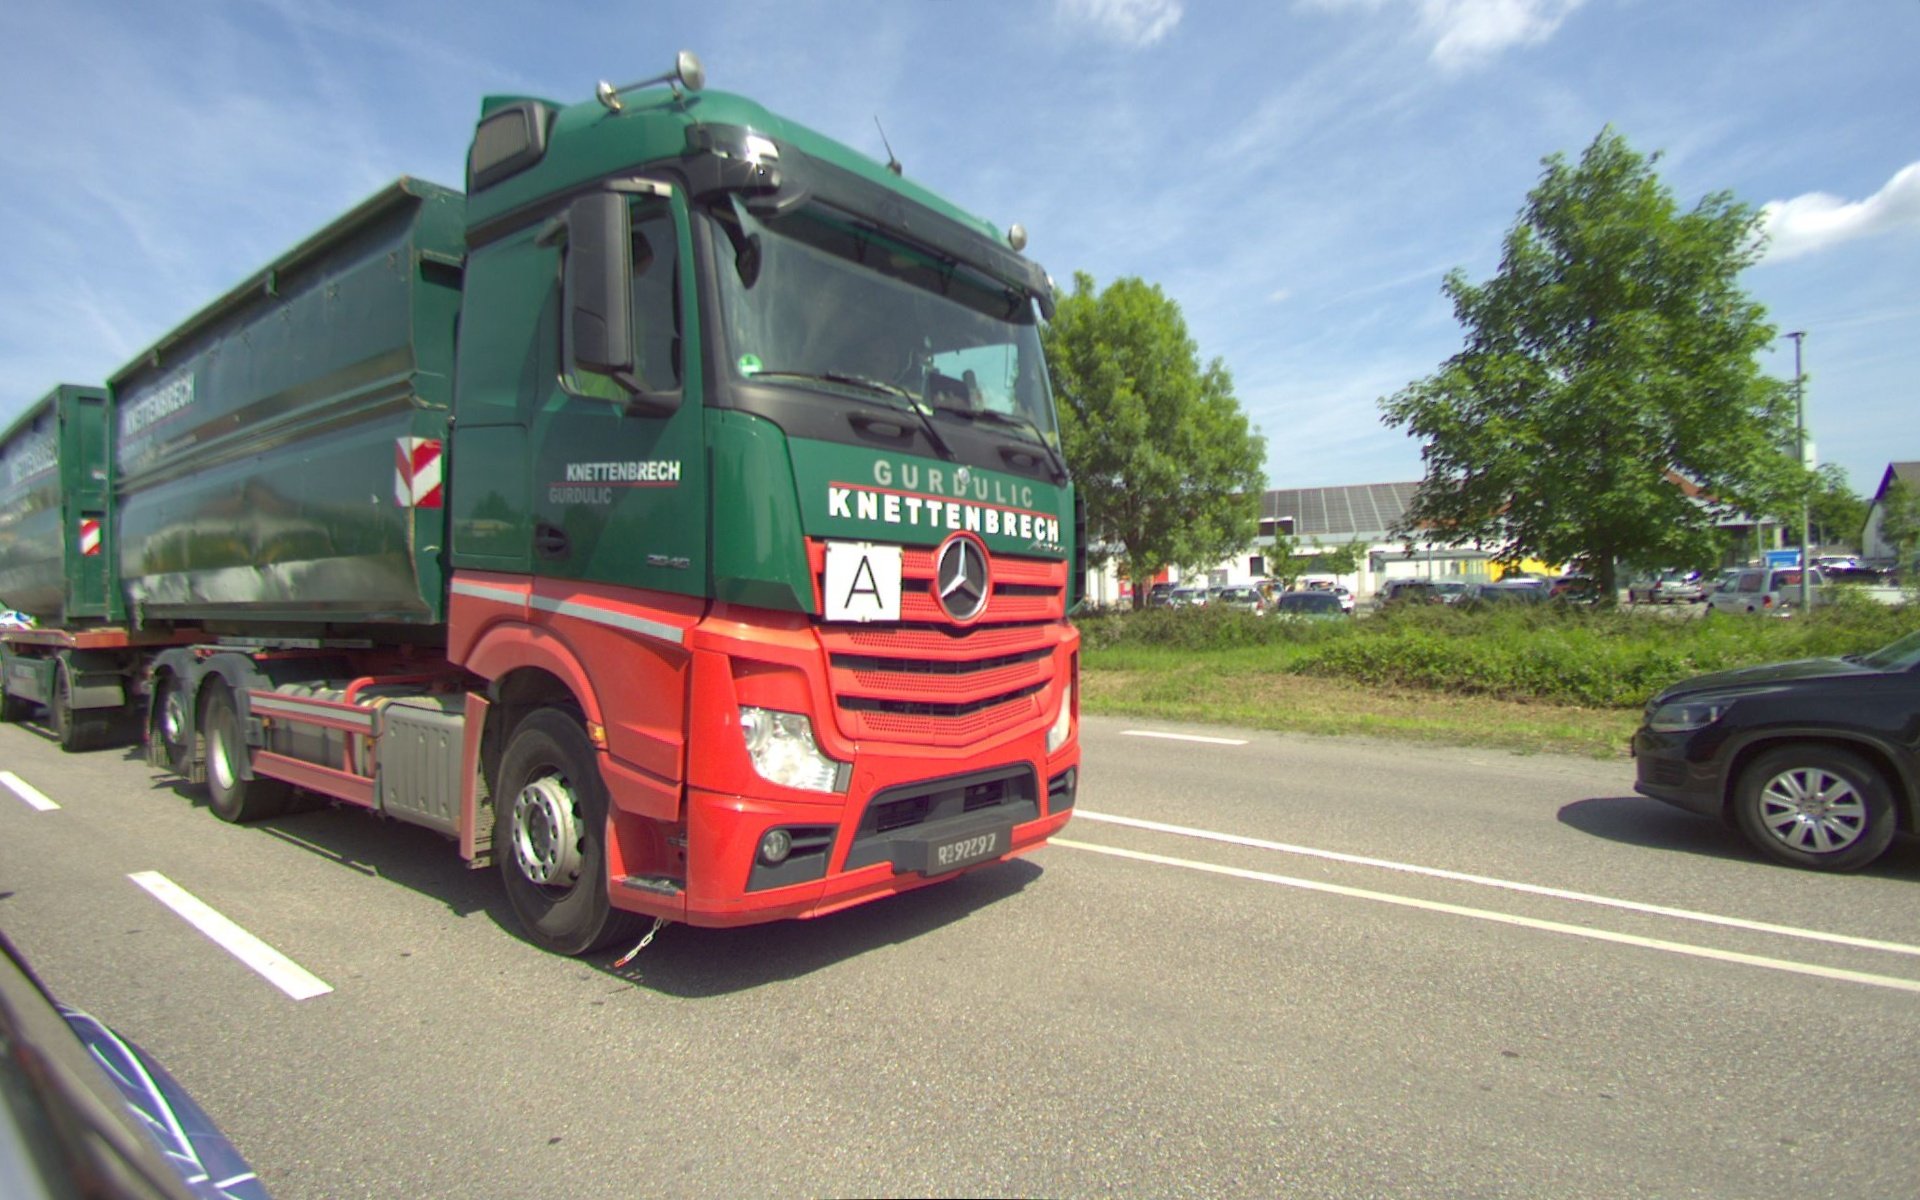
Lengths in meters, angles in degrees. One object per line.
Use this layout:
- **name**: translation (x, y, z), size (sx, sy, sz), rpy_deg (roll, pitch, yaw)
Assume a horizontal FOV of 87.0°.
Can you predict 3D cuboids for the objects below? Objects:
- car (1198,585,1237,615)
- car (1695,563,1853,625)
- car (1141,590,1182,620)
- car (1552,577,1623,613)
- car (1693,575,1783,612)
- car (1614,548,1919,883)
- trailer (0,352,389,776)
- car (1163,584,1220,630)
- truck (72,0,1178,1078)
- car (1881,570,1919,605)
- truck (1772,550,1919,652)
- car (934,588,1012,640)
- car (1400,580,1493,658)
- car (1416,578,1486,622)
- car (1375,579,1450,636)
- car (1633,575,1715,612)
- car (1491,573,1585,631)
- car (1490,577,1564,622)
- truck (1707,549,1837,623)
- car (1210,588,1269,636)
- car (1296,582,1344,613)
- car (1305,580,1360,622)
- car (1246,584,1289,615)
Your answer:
- **car**: translation (13.296, -0.018, 52.227), size (1.868, 1.453, 3.981), rpy_deg (-1, 1, 15)
- **car**: translation (24.203, -0.154, 30.324), size (1.981, 1.708, 4.408), rpy_deg (-1, 0, 14)
- **car**: translation (10.451, 0.238, 52.286), size (1.868, 1.453, 3.981), rpy_deg (-1, 1, 15)
- **car**: translation (28.450, -0.229, 45.990), size (1.865, 1.553, 4.231), rpy_deg (0, 0, 20)
- **car**: translation (33.899, -0.274, 44.214), size (1.865, 1.553, 4.231), rpy_deg (0, 0, 20)
- **car**: translation (5.860, 0.524, 4.878), size (4.270, 1.610, 1.784), rpy_deg (-2, 0, 44)
- **trailer**: translation (-10.755, -0.268, 13.258), size (8.661, 3.950, 2.774), rpy_deg (-1, -1, 39)
- **car**: translation (9.322, 0.243, 40.477), size (1.850, 1.688, 4.399), rpy_deg (-1, 0, 17)
- **truck**: translation (-3.616, -0.439, 7.325), size (10.039, 3.950, 2.642), rpy_deg (-1, -1, 39)
- **car**: translation (45.107, -0.591, 46.087), size (4.223, 1.553, 1.869), rpy_deg (0, 0, 18)
- **truck**: translation (24.188, 0.005, 24.865), size (6.274, 2.393, 2.244), rpy_deg (-1, -1, 7)
- **car**: translation (0.576, 0.491, 38.717), size (1.865, 1.825, 4.145), rpy_deg (-1, 0, 17)
- **car**: translation (11.407, 0.406, 23.940), size (1.683, 1.670, 3.971), rpy_deg (0, 0, 22)
- **car**: translation (18.315, -0.003, 37.928), size (1.764, 1.540, 3.977), rpy_deg (0, 0, 17)
- **car**: translation (14.650, 0.215, 32.934), size (1.898, 1.687, 3.974), rpy_deg (-1, 1, 20)
- **car**: translation (31.484, -0.271, 44.758), size (1.865, 1.553, 4.231), rpy_deg (0, 0, 20)
- **car**: translation (18.195, 0.061, 32.053), size (1.912, 1.701, 3.973), rpy_deg (0, 0, 20)
- **car**: translation (20.570, -0.021, 36.854), size (1.767, 1.540, 3.972), rpy_deg (0, 0, 21)
- **truck**: translation (27.857, -0.454, 34.885), size (1.981, 2.383, 3.982), rpy_deg (-1, 0, 14)
- **car**: translation (9.867, 0.371, 35.594), size (1.769, 1.513, 4.122), rpy_deg (-1, 1, 18)
- **car**: translation (17.939, -0.165, 50.564), size (1.868, 1.453, 3.981), rpy_deg (-1, 1, 15)
- **car**: translation (14.257, 0.031, 38.933), size (1.764, 1.540, 3.977), rpy_deg (0, 0, 17)
- **car**: translation (15.534, -0.045, 51.259), size (1.868, 1.453, 3.981), rpy_deg (-1, 1, 15)
